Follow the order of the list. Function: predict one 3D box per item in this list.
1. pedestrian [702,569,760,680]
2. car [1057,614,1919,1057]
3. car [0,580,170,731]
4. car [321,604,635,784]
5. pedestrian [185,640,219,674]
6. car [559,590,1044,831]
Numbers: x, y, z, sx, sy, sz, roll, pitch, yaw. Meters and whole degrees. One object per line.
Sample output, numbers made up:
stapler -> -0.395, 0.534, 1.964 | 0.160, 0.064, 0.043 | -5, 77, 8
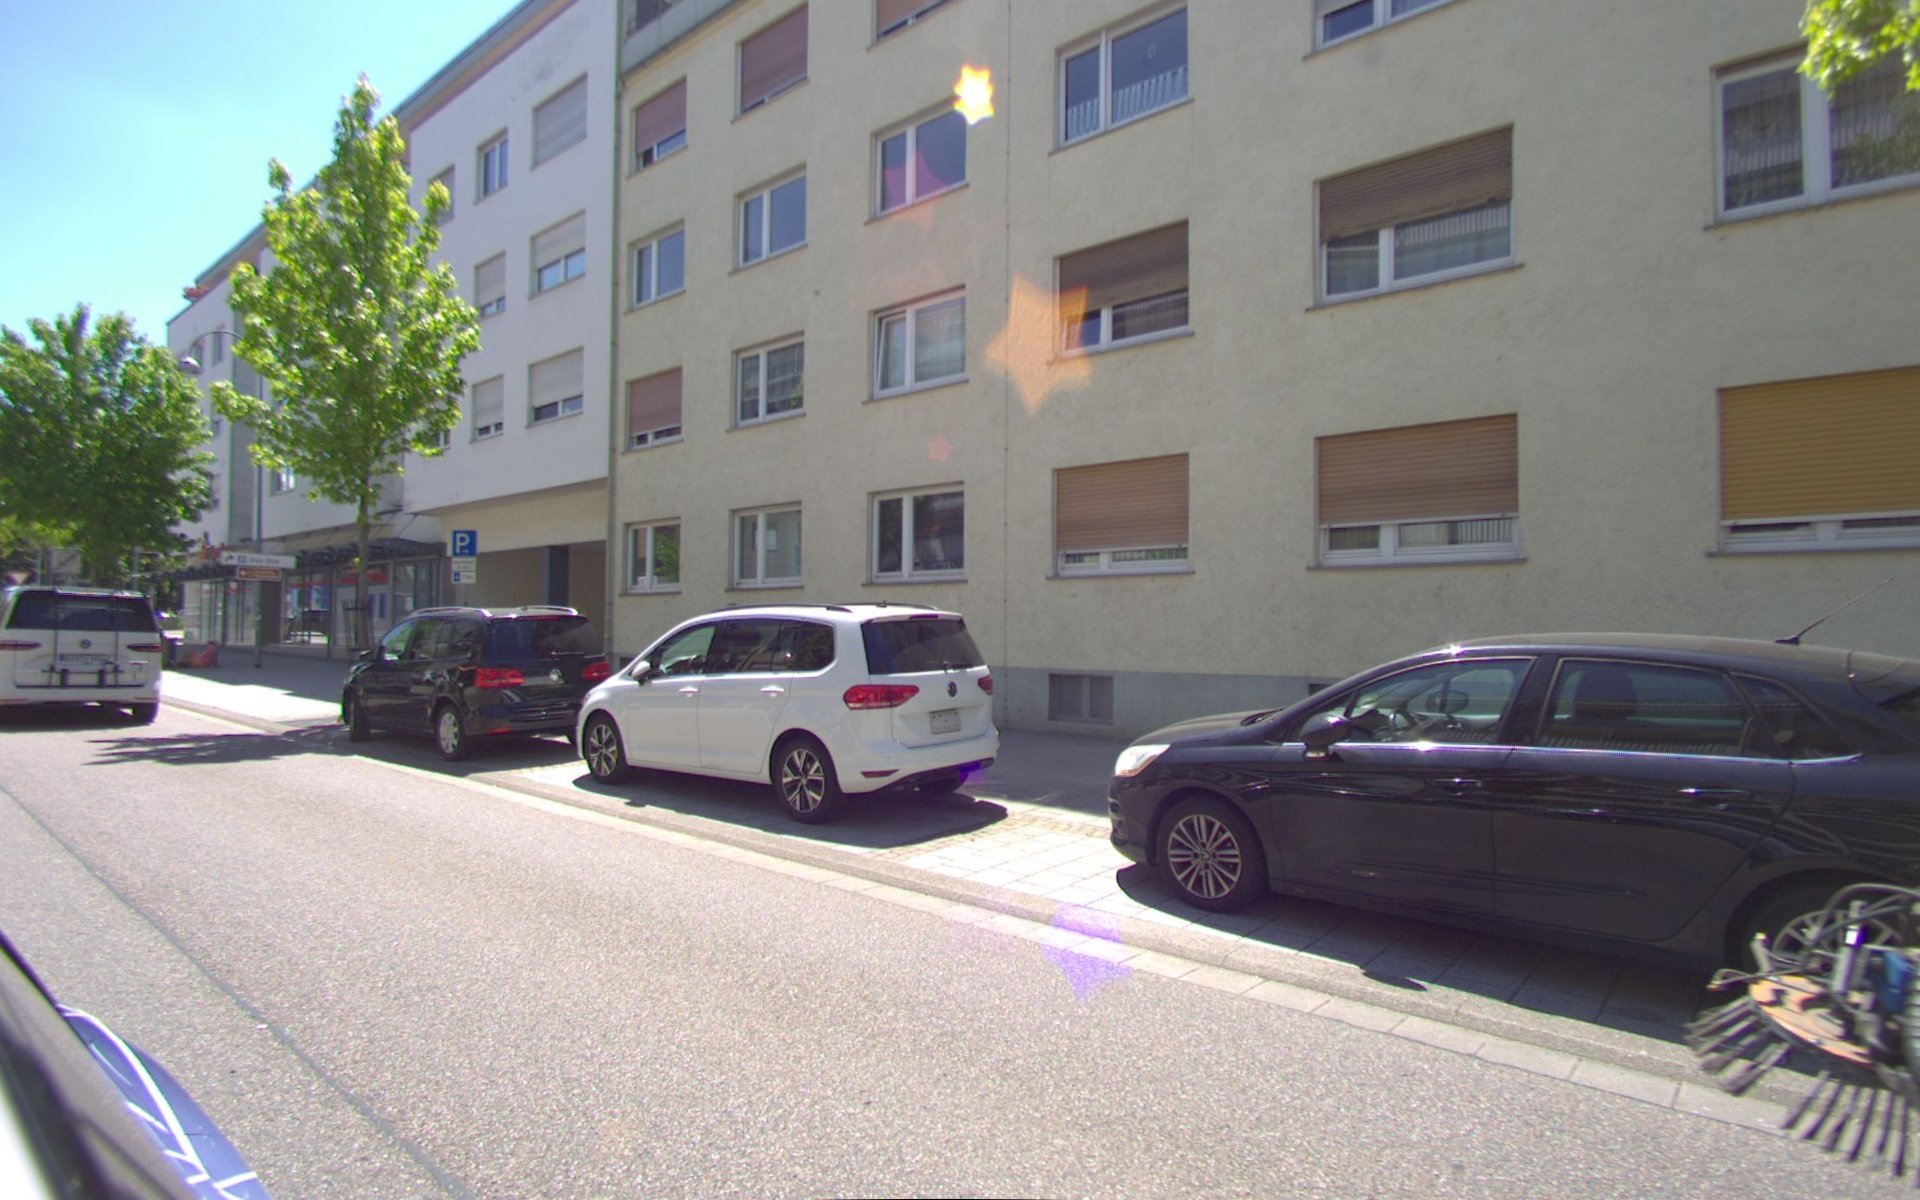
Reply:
pedestrian -> -3.609, 0.406, 15.985 | 0.627, 1.693, 0.653 | -2, -5, 23
car -> 2.730, 0.823, 5.105 | 4.322, 1.485, 1.735 | -1, -1, 43
car -> -13.731, 0.784, 15.262 | 4.903, 1.937, 1.887 | -1, -4, 41
car -> -5.915, 0.980, 12.179 | 4.388, 1.753, 1.711 | -1, 0, 40
pedestrian -> -20.706, 1.550, 27.645 | 0.656, 0.864, 0.734 | 3, 0, -40
car -> -1.577, 0.801, 8.961 | 4.388, 1.632, 1.806 | -2, -2, 40
